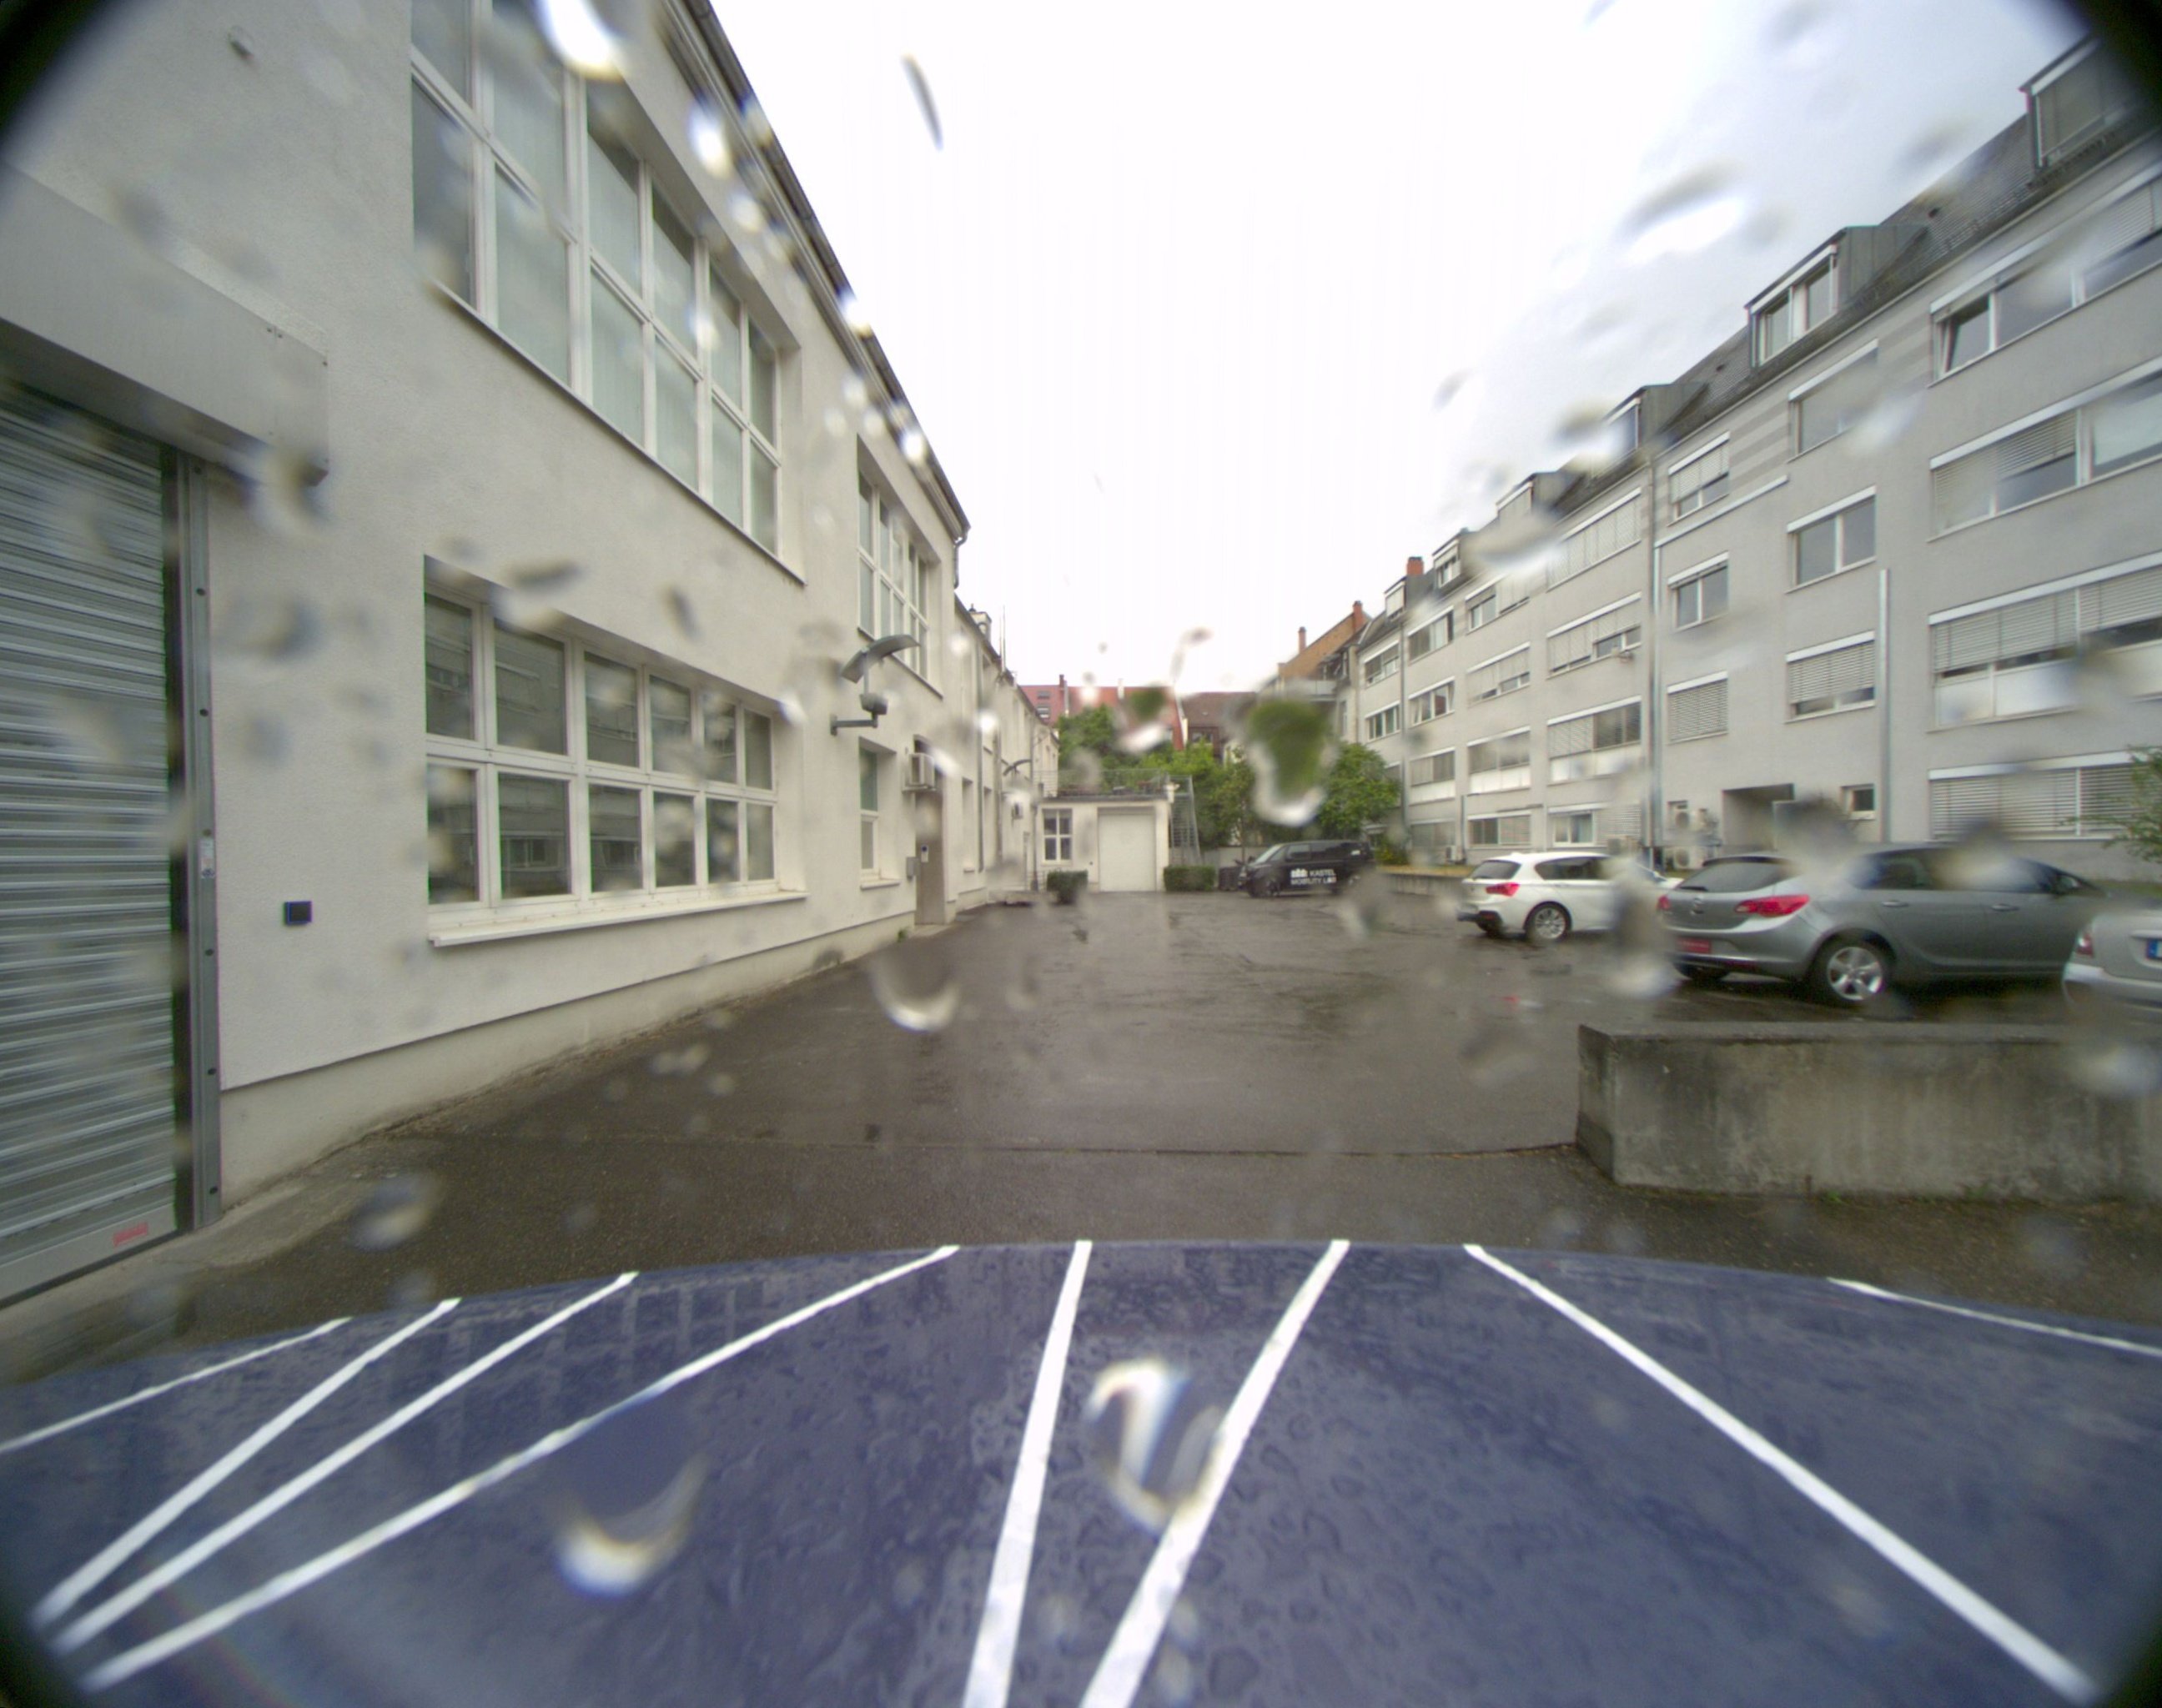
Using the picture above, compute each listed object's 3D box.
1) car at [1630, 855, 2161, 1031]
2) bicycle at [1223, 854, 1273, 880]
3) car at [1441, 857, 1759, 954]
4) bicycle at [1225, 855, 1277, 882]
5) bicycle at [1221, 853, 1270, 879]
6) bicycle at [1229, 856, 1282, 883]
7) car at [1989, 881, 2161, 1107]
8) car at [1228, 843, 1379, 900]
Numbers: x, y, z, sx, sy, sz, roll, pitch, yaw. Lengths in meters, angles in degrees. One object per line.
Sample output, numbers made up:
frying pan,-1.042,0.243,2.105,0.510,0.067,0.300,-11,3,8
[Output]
car,8.198,0.780,7.547,4.176,1.475,1.822,-1,0,-1
bicycle,8.142,0.619,37.051,2.318,1.180,0.643,-1,3,5
car,8.531,0.811,12.744,4.150,1.425,1.753,-1,1,-1
bicycle,8.021,0.673,35.890,2.318,1.180,0.643,-1,3,5
bicycle,8.139,0.592,37.685,2.318,1.180,0.643,-1,3,5
bicycle,8.044,0.707,35.088,2.318,1.180,0.643,-1,3,5
car,8.804,0.803,4.667,4.176,1.325,1.822,-3,0,1
car,7.701,0.594,26.579,4.629,1.826,1.988,-1,-1,-3
